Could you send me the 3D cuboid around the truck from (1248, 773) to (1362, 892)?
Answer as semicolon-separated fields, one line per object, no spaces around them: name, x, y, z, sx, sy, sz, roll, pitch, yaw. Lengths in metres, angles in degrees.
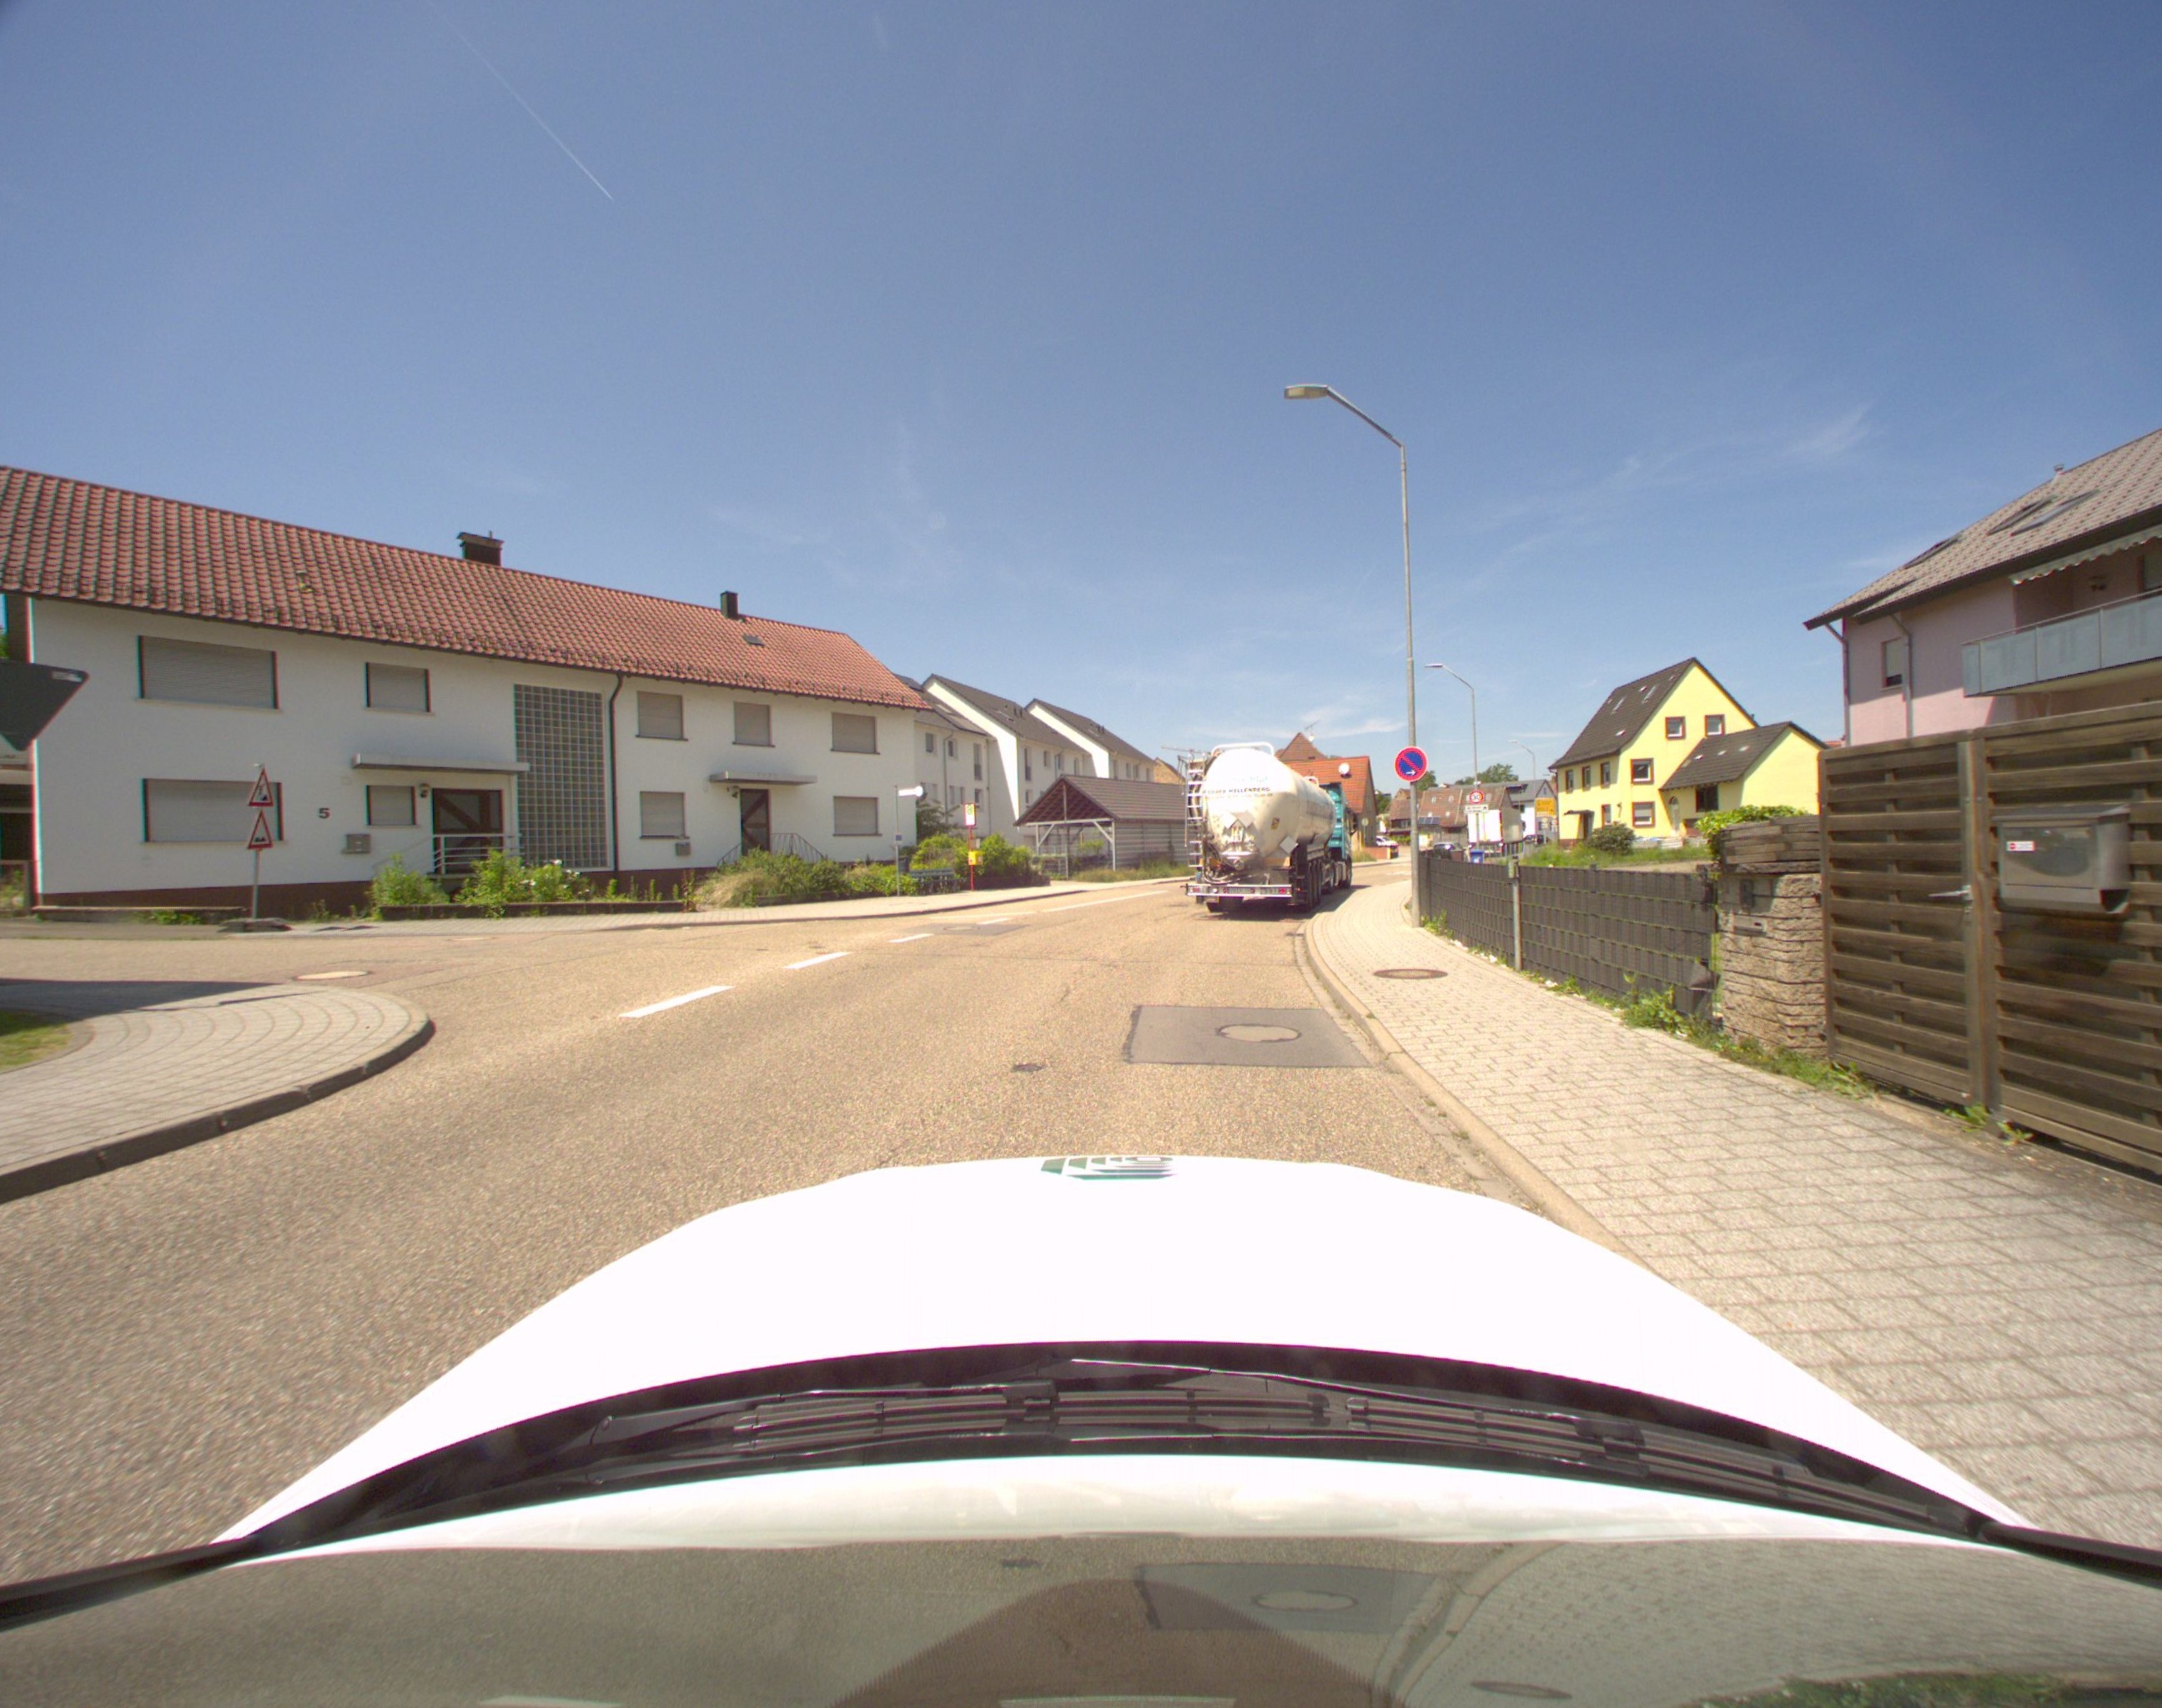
truck;8.446;-0.775;30.259;2.960;3.964;5.612;0;1;27

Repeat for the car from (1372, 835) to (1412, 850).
car;38.884;-1.456;101.902;1.887;1.785;4.475;-3;2;-33

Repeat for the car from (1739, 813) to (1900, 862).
car;25.988;-0.562;28.797;3.799;1.486;1.767;-3;0;12

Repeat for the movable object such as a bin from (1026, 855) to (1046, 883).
movable object such as a bin;-2.119;0.718;38.585;0.634;1.278;0.699;-1;0;34

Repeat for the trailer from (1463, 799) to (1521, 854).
trailer;35.403;-2.202;69.762;3.102;4.277;12.574;0;0;33

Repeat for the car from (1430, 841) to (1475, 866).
car;23.596;-0.053;51.644;1.824;1.486;4.026;-1;0;35

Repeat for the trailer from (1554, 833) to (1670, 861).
trailer;31.177;-0.411;47.971;5.319;1.546;2.142;-1;0;6

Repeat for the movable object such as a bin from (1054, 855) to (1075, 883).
movable object such as a bin;-0.764;0.676;37.708;0.634;1.278;0.699;-1;0;34

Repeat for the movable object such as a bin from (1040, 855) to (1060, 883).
movable object such as a bin;-1.432;0.697;38.175;0.634;1.278;0.699;-1;0;34

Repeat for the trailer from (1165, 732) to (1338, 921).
trailer;5.324;-0.593;22.955;2.927;3.948;11.678;-1;0;21

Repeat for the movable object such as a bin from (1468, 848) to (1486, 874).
movable object such as a bin;17.020;0.296;35.013;0.560;1.057;0.654;-2;0;19
